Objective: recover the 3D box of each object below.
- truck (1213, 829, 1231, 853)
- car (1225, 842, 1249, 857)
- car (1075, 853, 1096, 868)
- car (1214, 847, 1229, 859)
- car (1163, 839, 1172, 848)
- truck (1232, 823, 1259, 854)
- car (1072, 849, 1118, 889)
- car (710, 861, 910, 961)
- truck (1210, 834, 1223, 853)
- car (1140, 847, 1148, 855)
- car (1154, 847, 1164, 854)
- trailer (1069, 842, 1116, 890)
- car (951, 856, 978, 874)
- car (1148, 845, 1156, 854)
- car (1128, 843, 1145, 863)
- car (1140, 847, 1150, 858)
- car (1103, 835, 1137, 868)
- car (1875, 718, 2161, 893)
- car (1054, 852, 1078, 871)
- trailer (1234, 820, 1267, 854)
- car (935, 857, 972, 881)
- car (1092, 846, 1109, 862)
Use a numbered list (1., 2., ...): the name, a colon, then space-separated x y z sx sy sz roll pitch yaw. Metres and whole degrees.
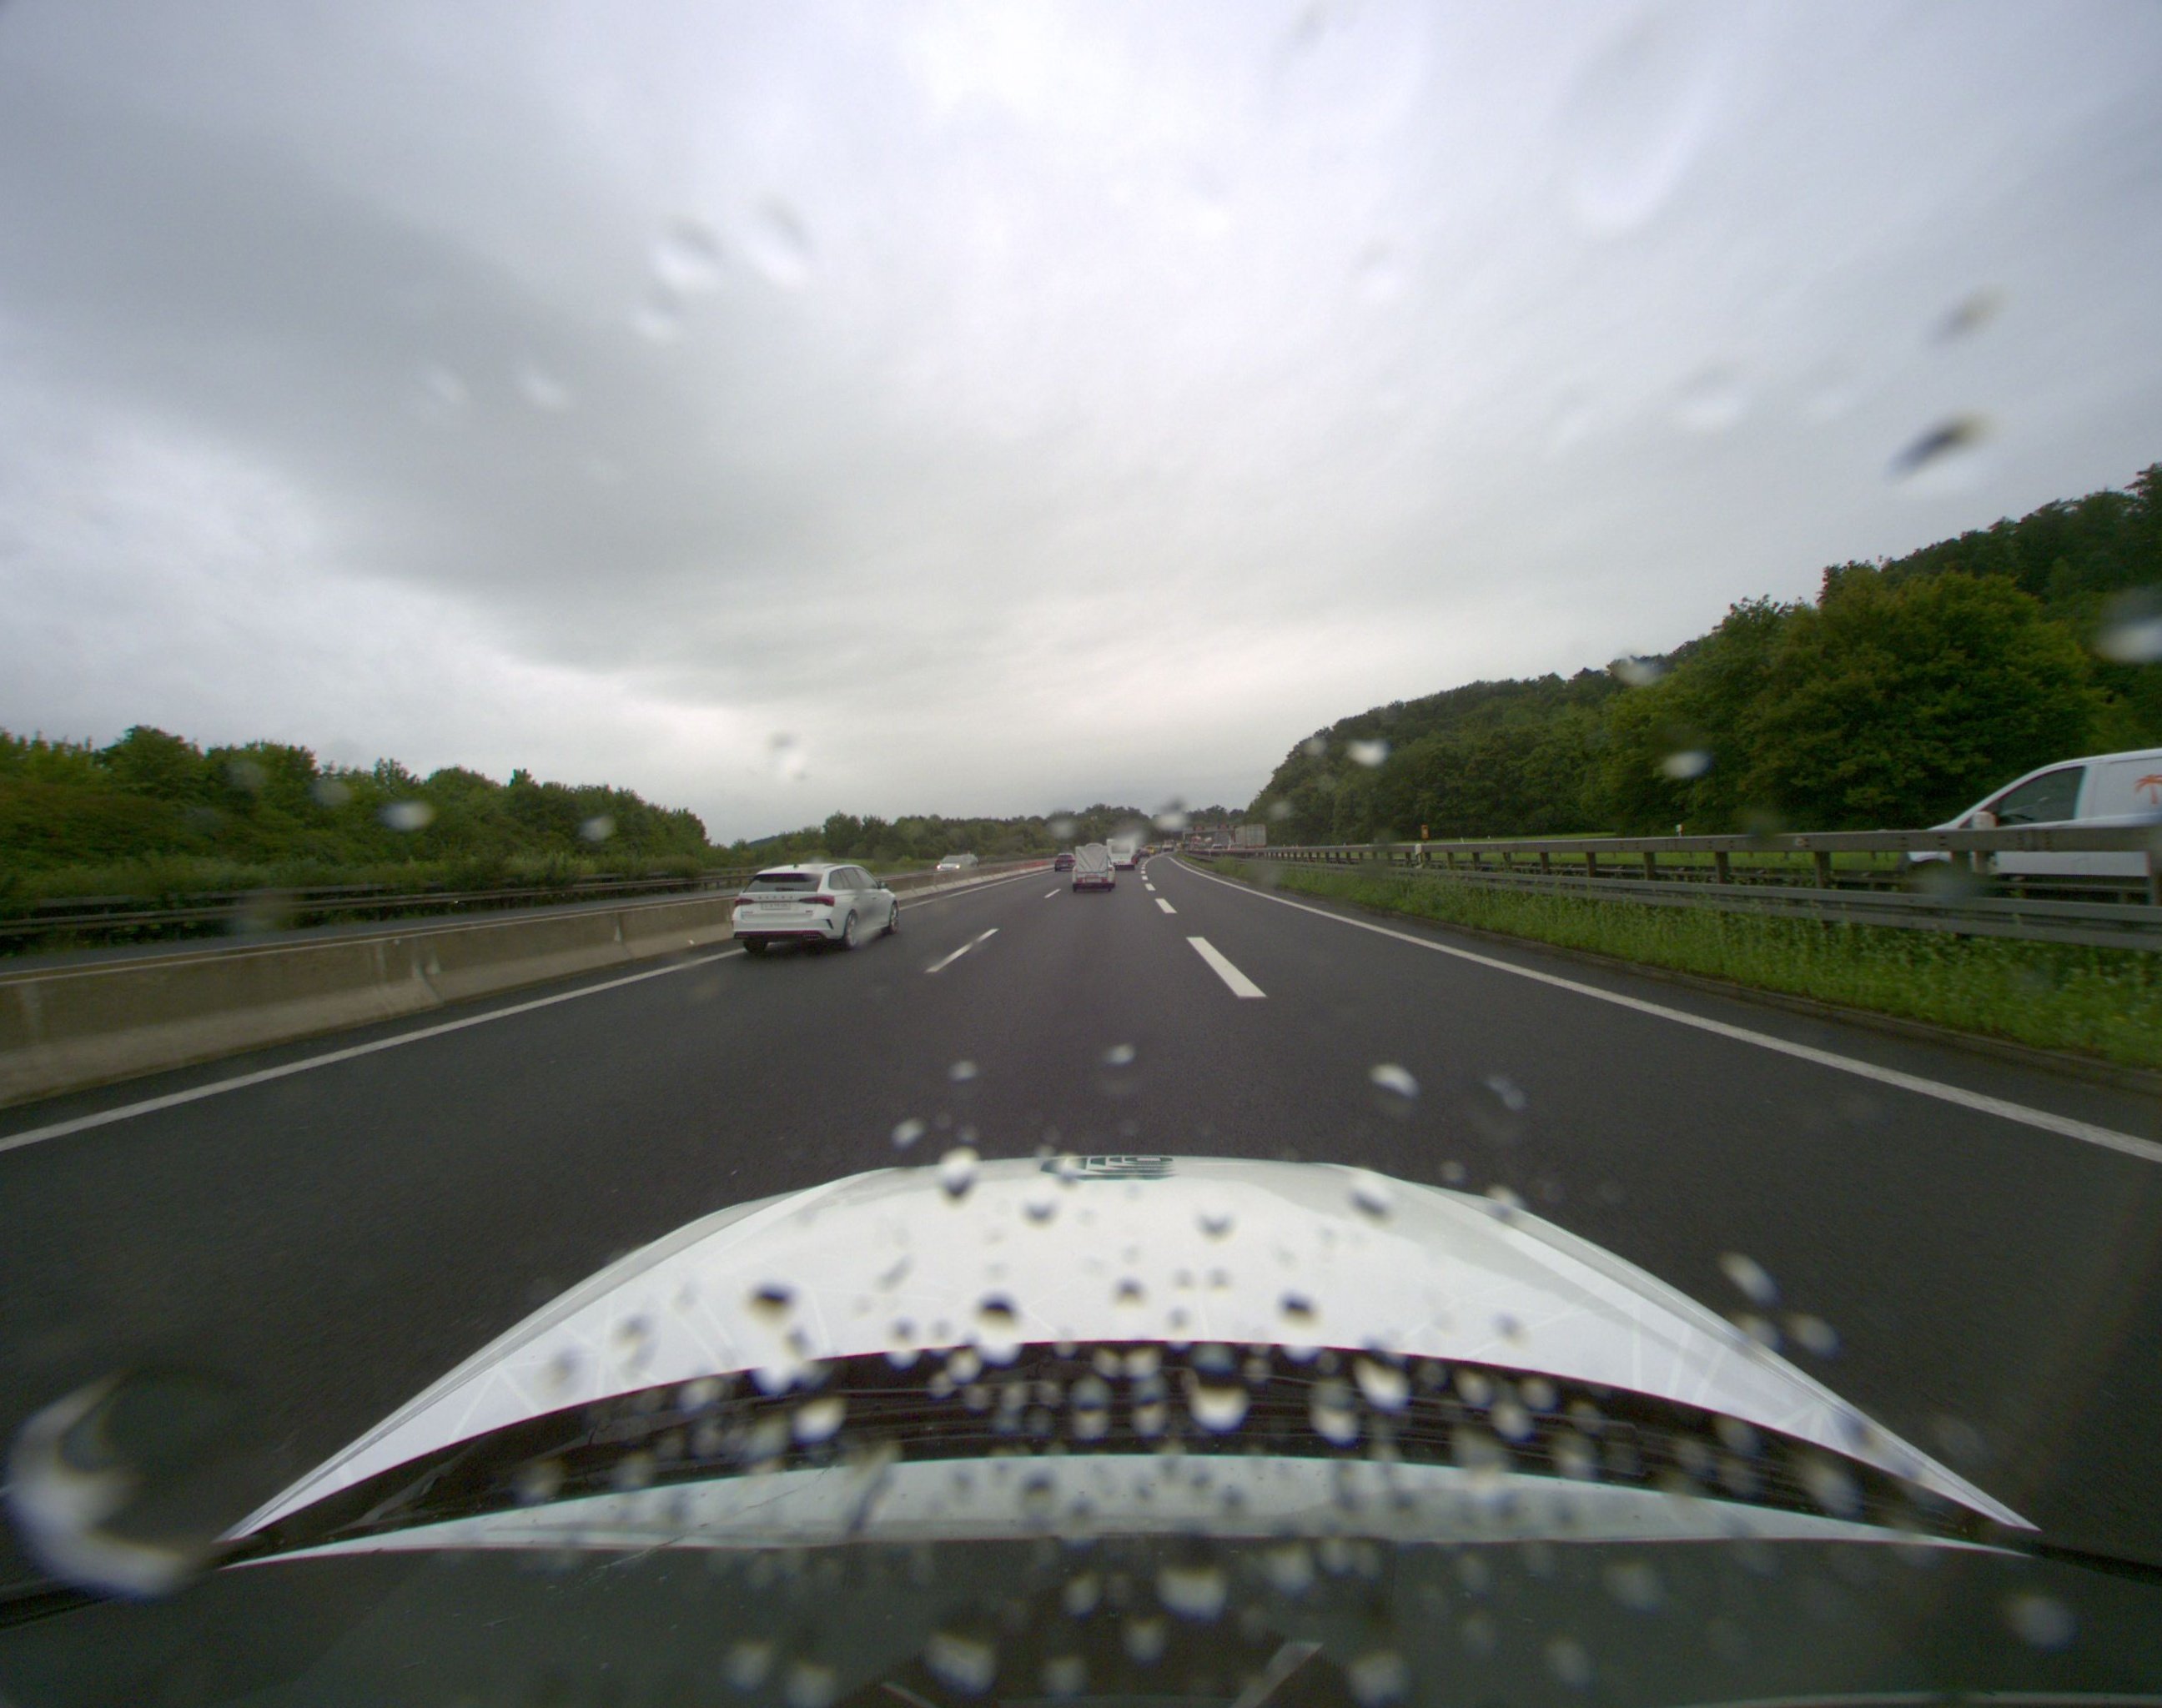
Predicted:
1. truck: 30.077 -2.694 174.314 3.198 4.666 13.060 -2 0 8
2. car: 15.687 -0.403 82.012 1.660 1.382 4.129 -4 0 3
3. car: 0.493 0.668 86.310 1.756 1.456 4.007 -2 0 6
4. car: 19.143 -0.140 111.230 1.760 1.610 4.653 -2 0 7
5. car: 24.183 -2.931 227.834 2.503 2.574 5.321 -2 0 6
6. truck: 21.413 -1.946 106.232 2.603 3.884 6.402 -2 0 6
7. car: 0.706 0.631 36.789 1.810 1.616 4.782 -2 0 4
8. car: -4.636 0.889 14.815 1.811 1.456 4.780 -2 0 2
9. truck: 36.969 -2.794 221.848 3.196 4.666 13.068 -2 0 10
10. car: 16.742 -0.788 217.303 1.984 2.013 4.005 -2 0 4
11. car: 18.576 -0.791 193.048 2.025 1.683 4.011 -2 0 9
12. trailer: 0.519 0.481 33.466 1.668 1.812 4.004 -2 0 4
13. car: -11.501 1.032 80.586 1.885 1.650 4.603 -2 0 1
14. car: 15.049 -0.963 172.286 1.667 1.812 4.007 -2 0 7
15. car: 6.213 -0.088 90.887 1.669 2.067 4.001 -2 0 2
16. car: 11.343 -0.244 143.494 1.668 1.812 4.005 -2 0 5
17. car: 3.331 -0.183 68.398 2.496 2.585 5.707 -2 0 5
18. car: 11.388 -0.496 8.370 1.902 1.693 4.720 -2 0 1
19. car: -1.216 0.608 68.375 1.669 1.456 4.003 -2 0 3
20. trailer: 20.794 -1.974 100.437 2.591 3.894 12.511 -2 0 6
21. car: -9.783 1.108 62.778 1.985 1.711 4.306 -2 0 3
22. car: 2.477 -0.037 103.550 1.985 1.918 4.003 -2 0 2
